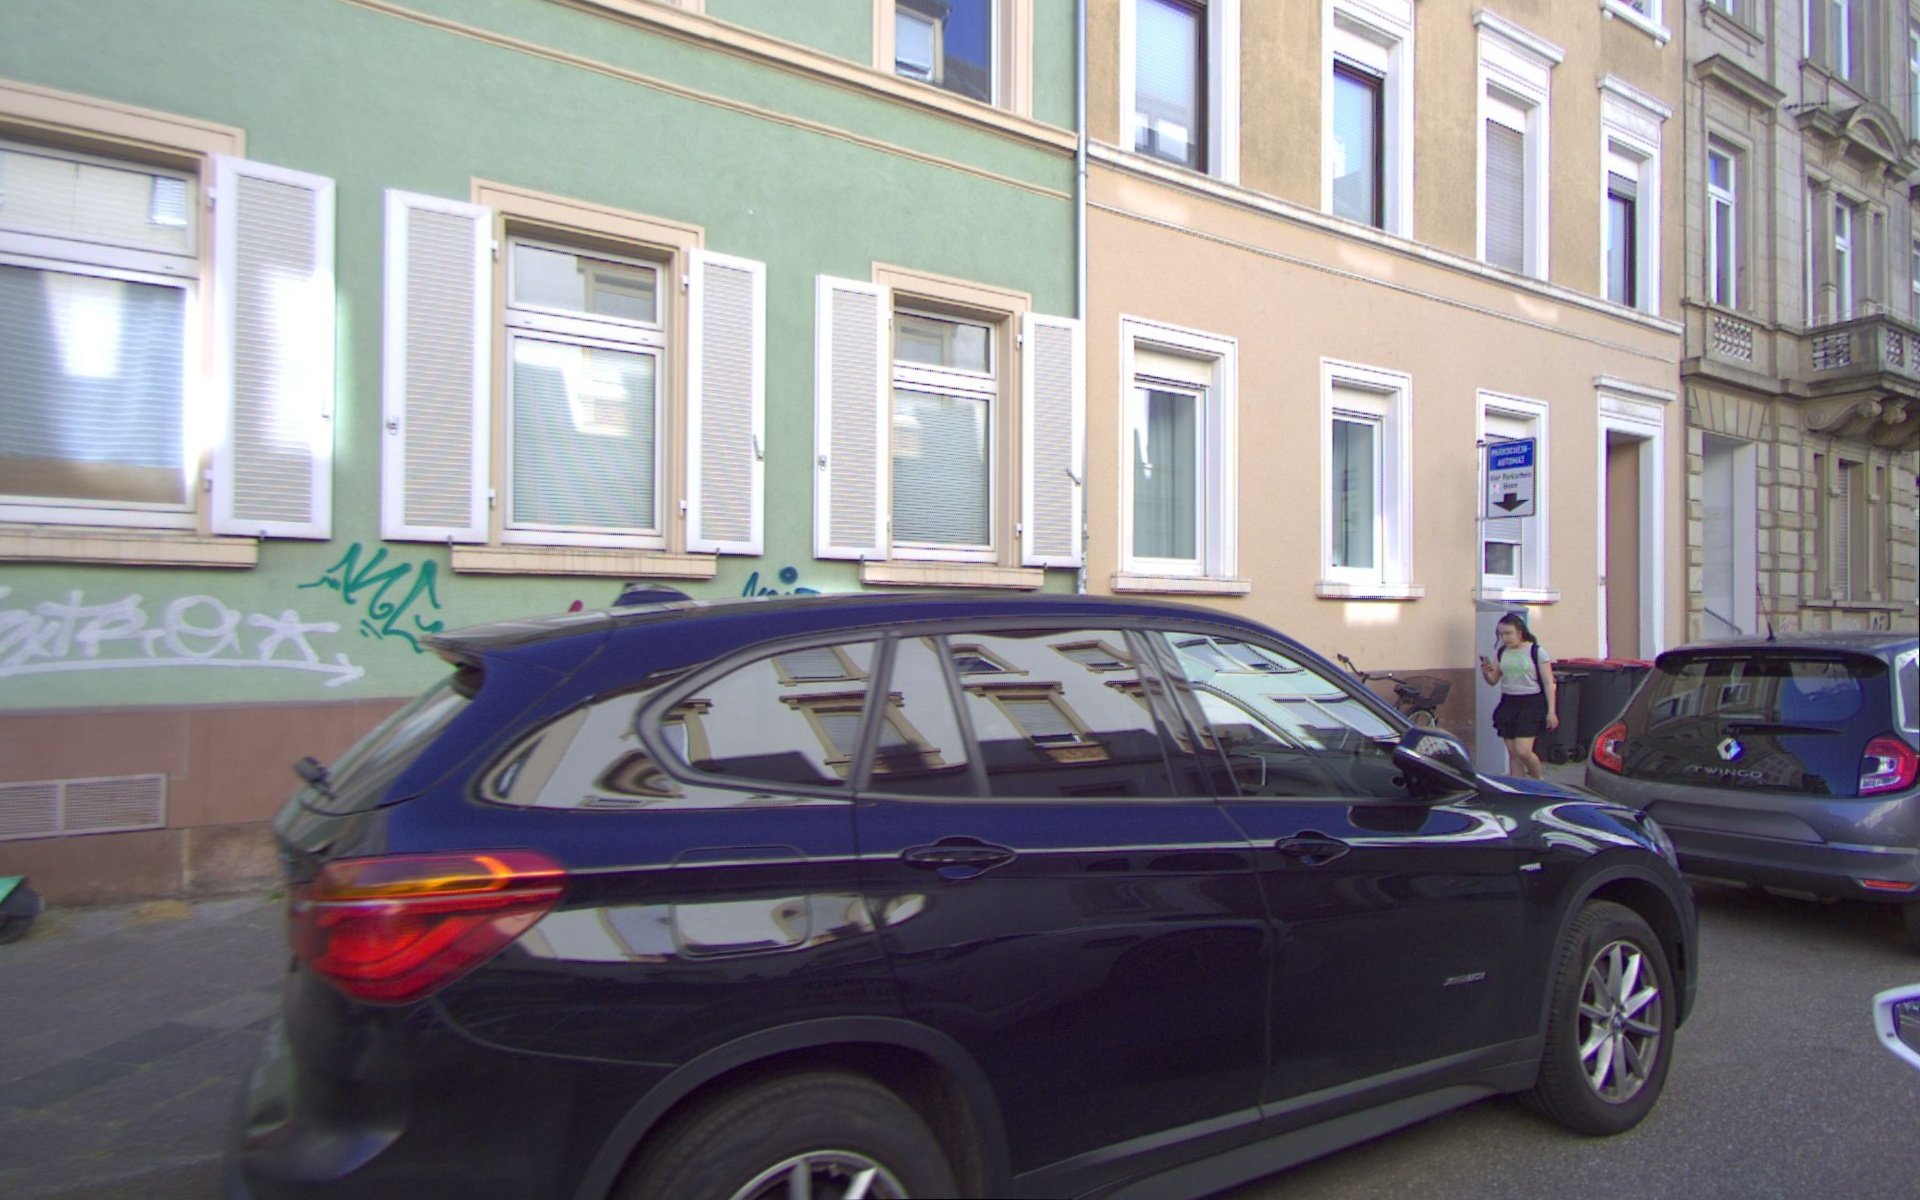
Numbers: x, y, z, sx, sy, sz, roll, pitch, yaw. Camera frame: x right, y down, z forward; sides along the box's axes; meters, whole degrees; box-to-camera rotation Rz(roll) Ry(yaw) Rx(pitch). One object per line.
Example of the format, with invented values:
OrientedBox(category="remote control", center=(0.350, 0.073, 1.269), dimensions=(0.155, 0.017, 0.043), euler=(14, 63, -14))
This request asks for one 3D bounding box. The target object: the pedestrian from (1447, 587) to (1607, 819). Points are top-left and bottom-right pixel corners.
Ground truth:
OrientedBox(category="pedestrian", center=(4.538, 0.779, 8.055), dimensions=(0.873, 1.737, 0.760), euler=(2, 0, -31))

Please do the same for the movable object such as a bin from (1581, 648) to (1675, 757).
OrientedBox(category="movable object such as a bin", center=(7.442, 1.116, 11.196), dimensions=(0.579, 1.147, 0.715), euler=(2, -2, -33))

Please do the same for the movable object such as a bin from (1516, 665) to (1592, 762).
OrientedBox(category="movable object such as a bin", center=(6.255, 1.183, 10.582), dimensions=(0.555, 0.950, 0.470), euler=(1, 0, -32))

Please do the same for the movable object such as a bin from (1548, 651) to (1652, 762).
OrientedBox(category="movable object such as a bin", center=(6.923, 1.127, 10.868), dimensions=(0.675, 1.103, 0.731), euler=(0, -1, -34))

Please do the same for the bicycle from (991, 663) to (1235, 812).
OrientedBox(category="bicycle", center=(1.183, 1.012, 7.615), dimensions=(1.888, 1.042, 0.360), euler=(2, -2, -21))

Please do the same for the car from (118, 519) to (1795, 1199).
OrientedBox(category="car", center=(0.506, 0.779, 3.146), dimensions=(4.547, 1.636, 1.737), euler=(1, -3, -30))

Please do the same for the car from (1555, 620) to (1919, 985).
OrientedBox(category="car", center=(5.457, 0.929, 6.021), dimensions=(3.932, 1.574, 1.607), euler=(1, -2, -31))

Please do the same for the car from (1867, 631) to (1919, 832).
OrientedBox(category="car", center=(9.559, 1.039, 8.332), dimensions=(4.313, 1.551, 1.706), euler=(1, -2, -29))

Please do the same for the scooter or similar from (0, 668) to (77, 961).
OrientedBox(category="scooter or similar", center=(-4.738, 0.884, 4.048), dimensions=(1.669, 1.197, 0.452), euler=(2, -2, -28))

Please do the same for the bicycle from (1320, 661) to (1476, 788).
OrientedBox(category="bicycle", center=(4.059, 1.100, 9.250), dimensions=(1.817, 1.070, 0.399), euler=(2, -2, -34))
